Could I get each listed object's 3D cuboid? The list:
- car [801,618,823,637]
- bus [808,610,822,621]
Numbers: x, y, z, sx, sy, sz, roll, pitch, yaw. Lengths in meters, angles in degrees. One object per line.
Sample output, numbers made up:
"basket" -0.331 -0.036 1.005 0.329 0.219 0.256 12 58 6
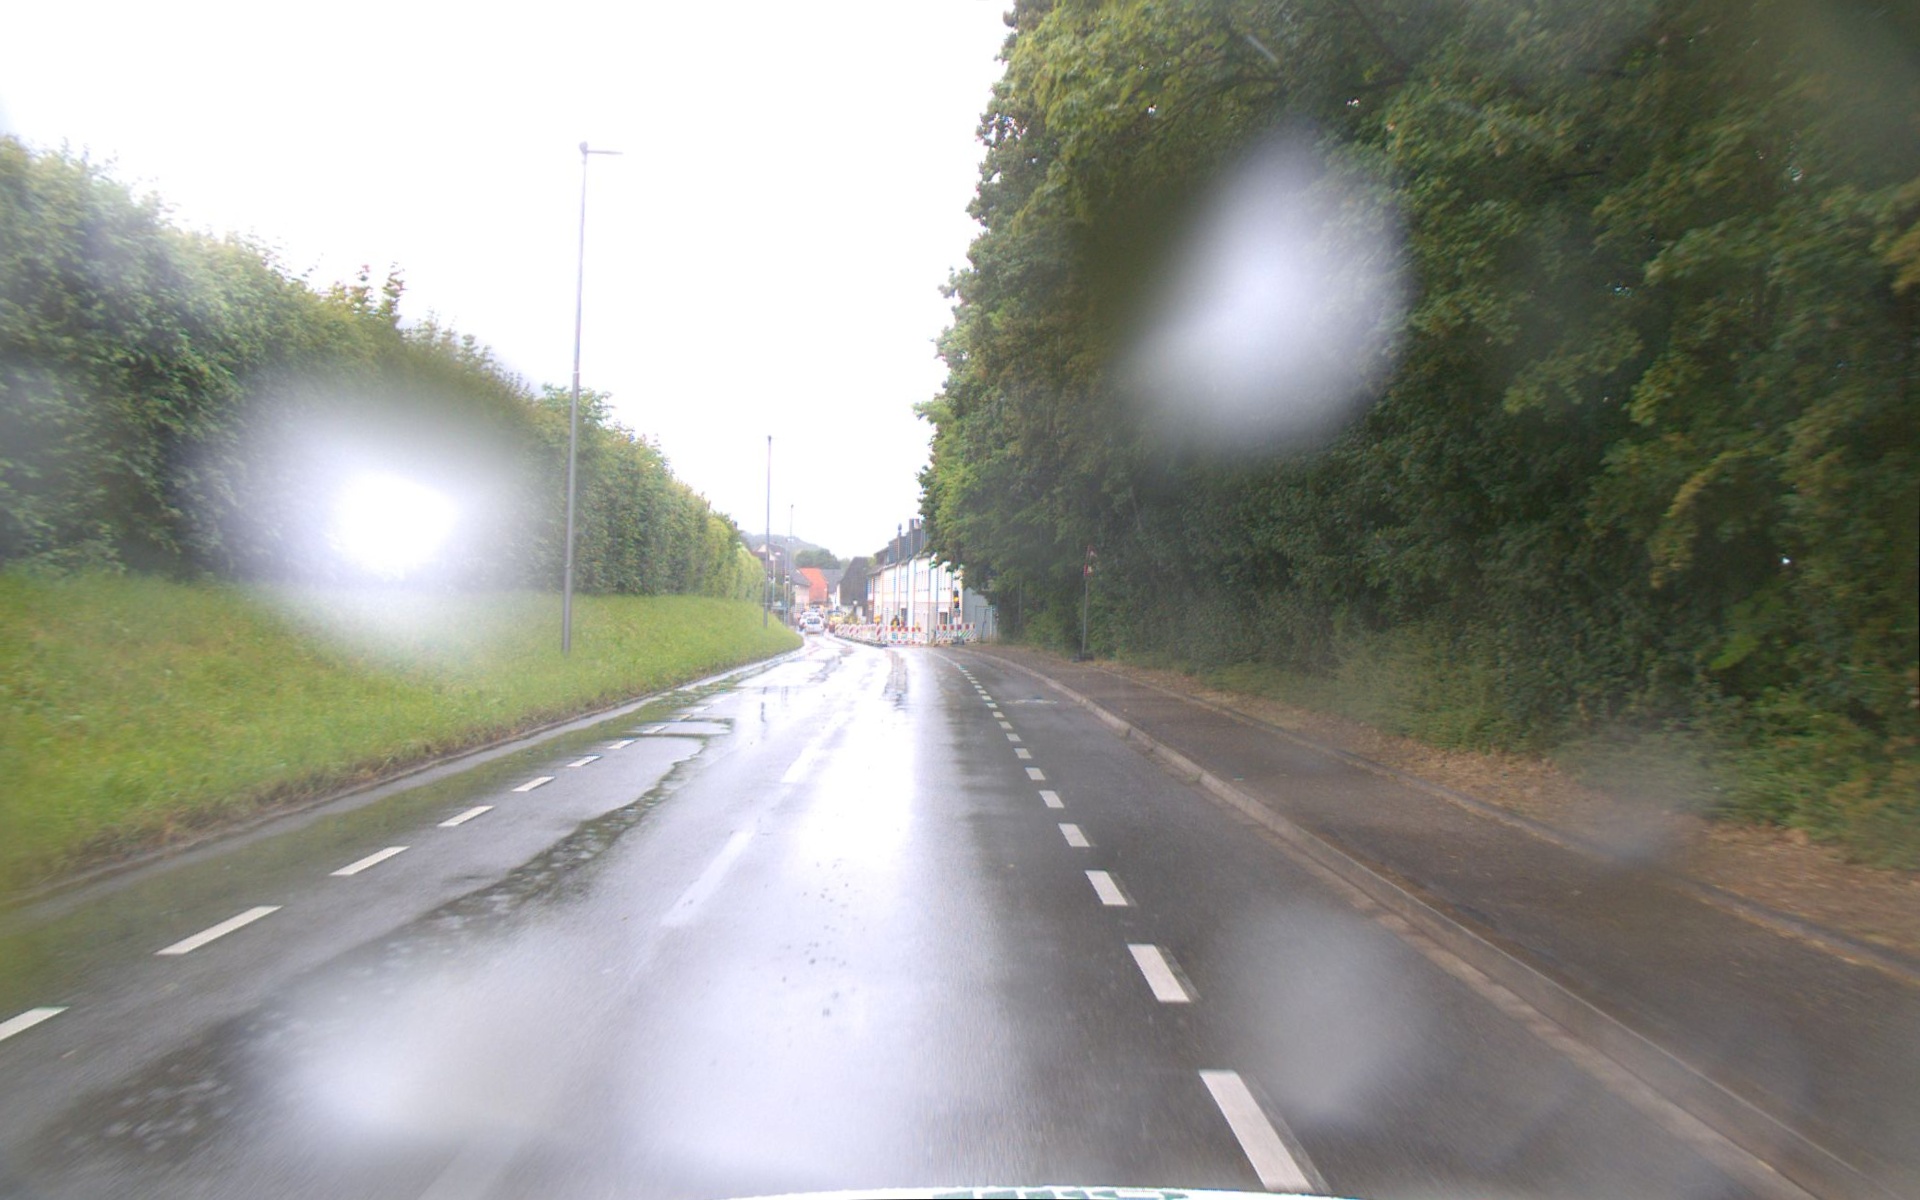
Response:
"car" -14.109 2.603 158.001 1.954 1.639 3.997 -1 1 -4
"bus" -20.183 2.188 230.140 1.759 1.434 3.996 3 -1 -4
